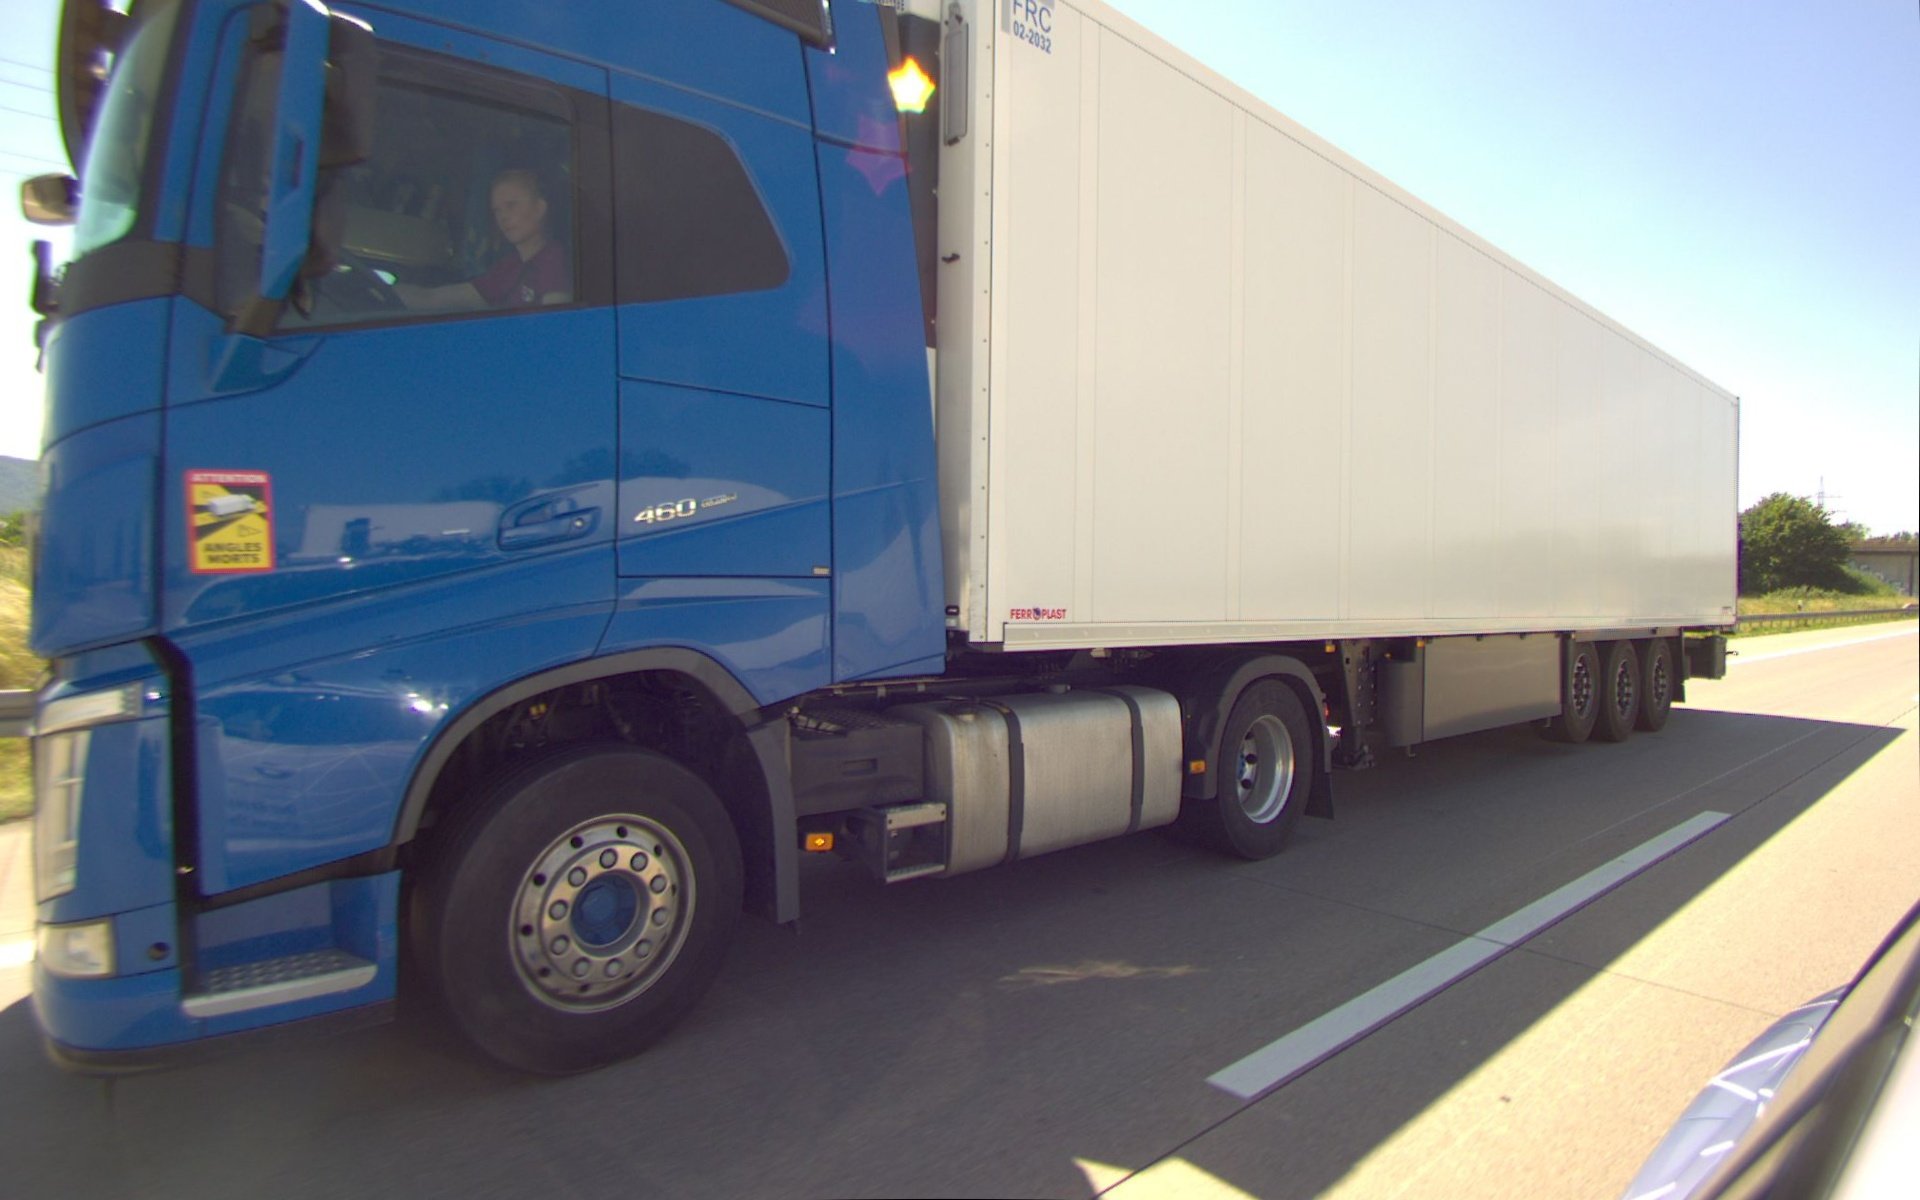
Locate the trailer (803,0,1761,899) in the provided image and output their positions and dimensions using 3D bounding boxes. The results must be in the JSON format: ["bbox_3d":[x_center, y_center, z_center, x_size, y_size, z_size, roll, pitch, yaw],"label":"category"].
[{"bbox_3d":[4.608,-0.751,9.789,12.678,4.095,2.713,0,0,-41],"label":"trailer"}]

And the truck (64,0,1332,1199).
[{"bbox_3d":[-0.799,-0.708,4.976,5.372,4.095,2.754,0,0,-42],"label":"truck"}]
